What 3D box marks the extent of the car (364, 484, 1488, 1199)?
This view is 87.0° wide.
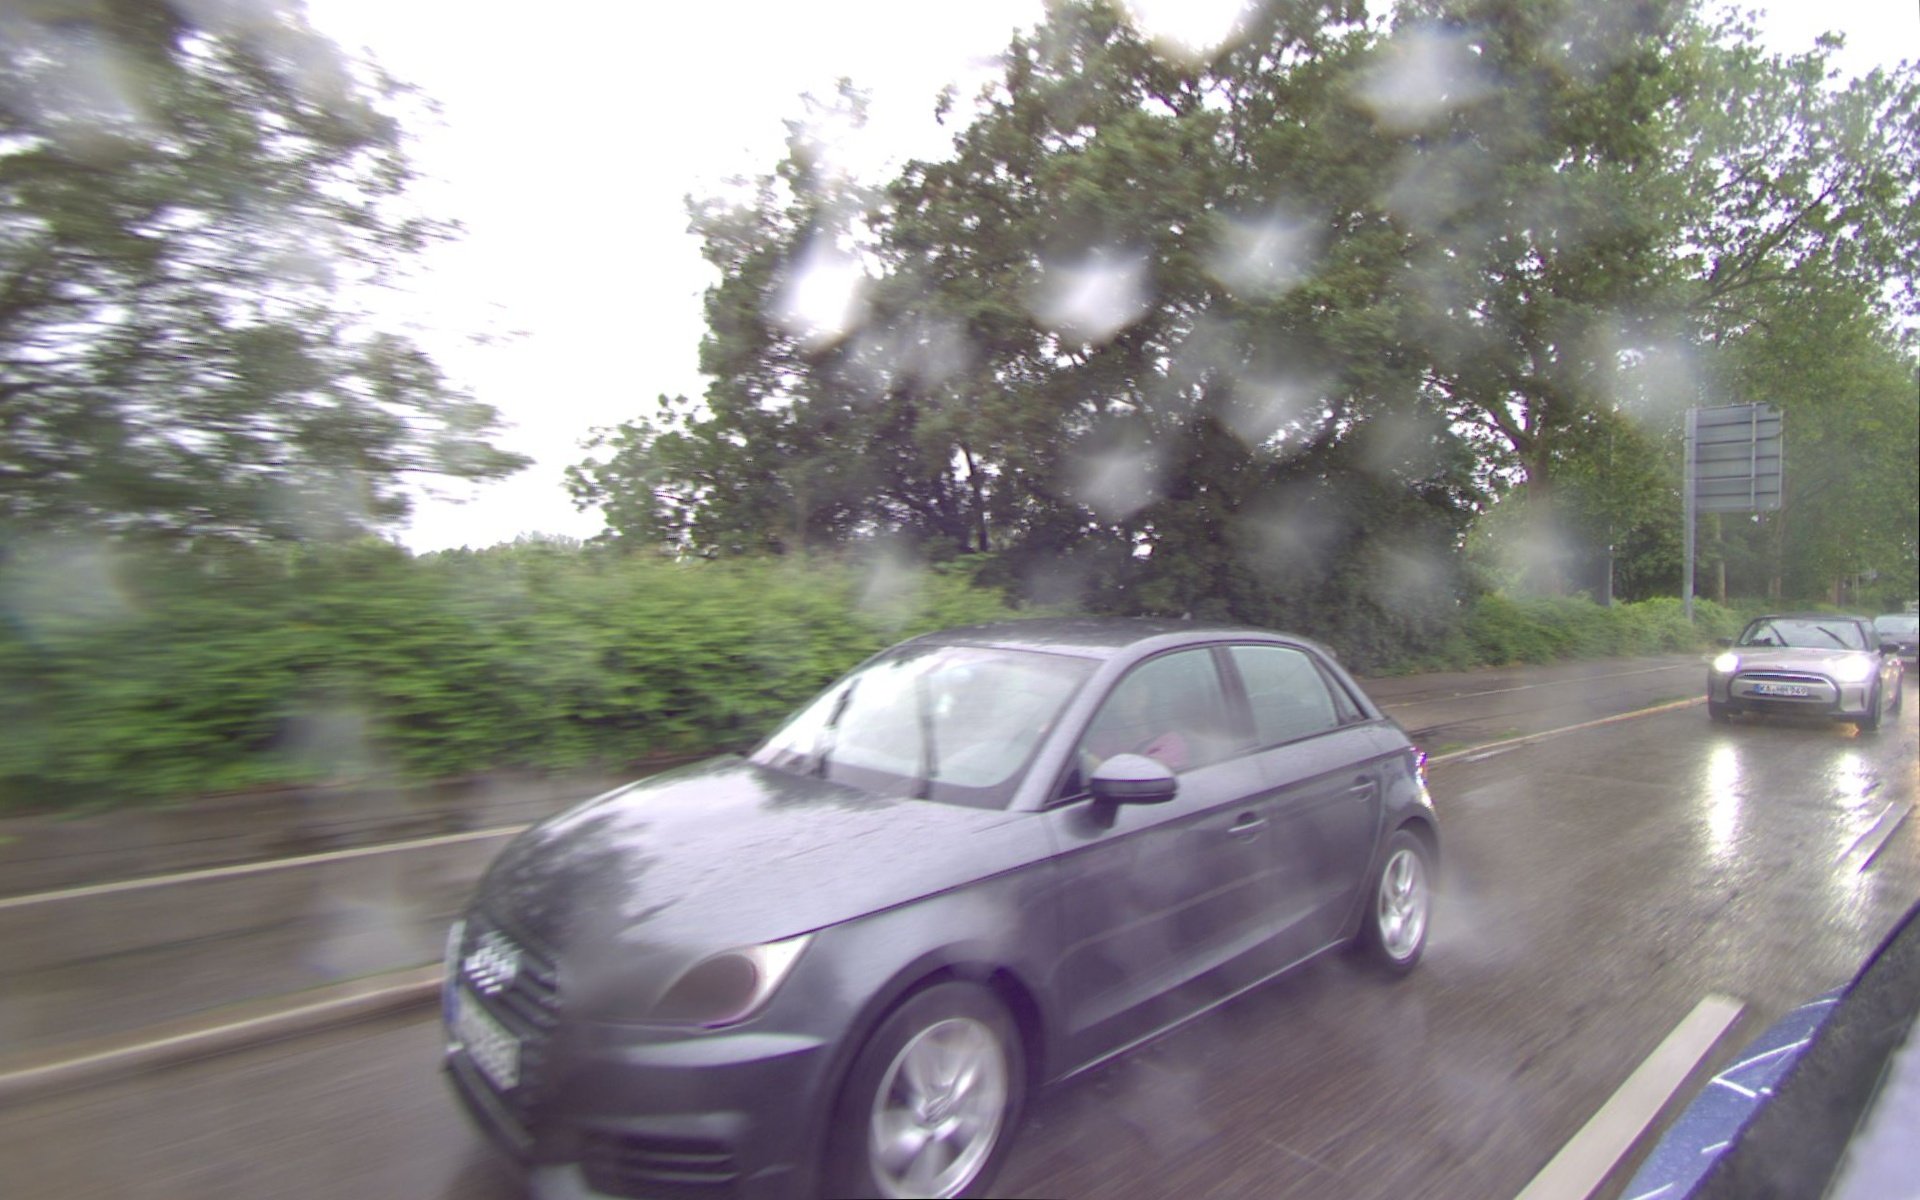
[{"bbox_3d":[0.221,0.604,3.820,3.923,1.548,1.970,1,-1,-43],"label":"car"}]

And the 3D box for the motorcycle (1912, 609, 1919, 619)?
[{"bbox_3d":[125.373,1.801,132.575,1.418,1.234,0.635,1,1,-30],"label":"motorcycle"}]

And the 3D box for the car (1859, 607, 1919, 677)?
[{"bbox_3d":[21.898,0.942,23.043,4.022,1.480,1.773,2,-2,-43],"label":"car"}]

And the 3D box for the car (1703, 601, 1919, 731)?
[{"bbox_3d":[11.464,0.760,13.540,3.789,1.432,1.793,-1,1,-43],"label":"car"}]
